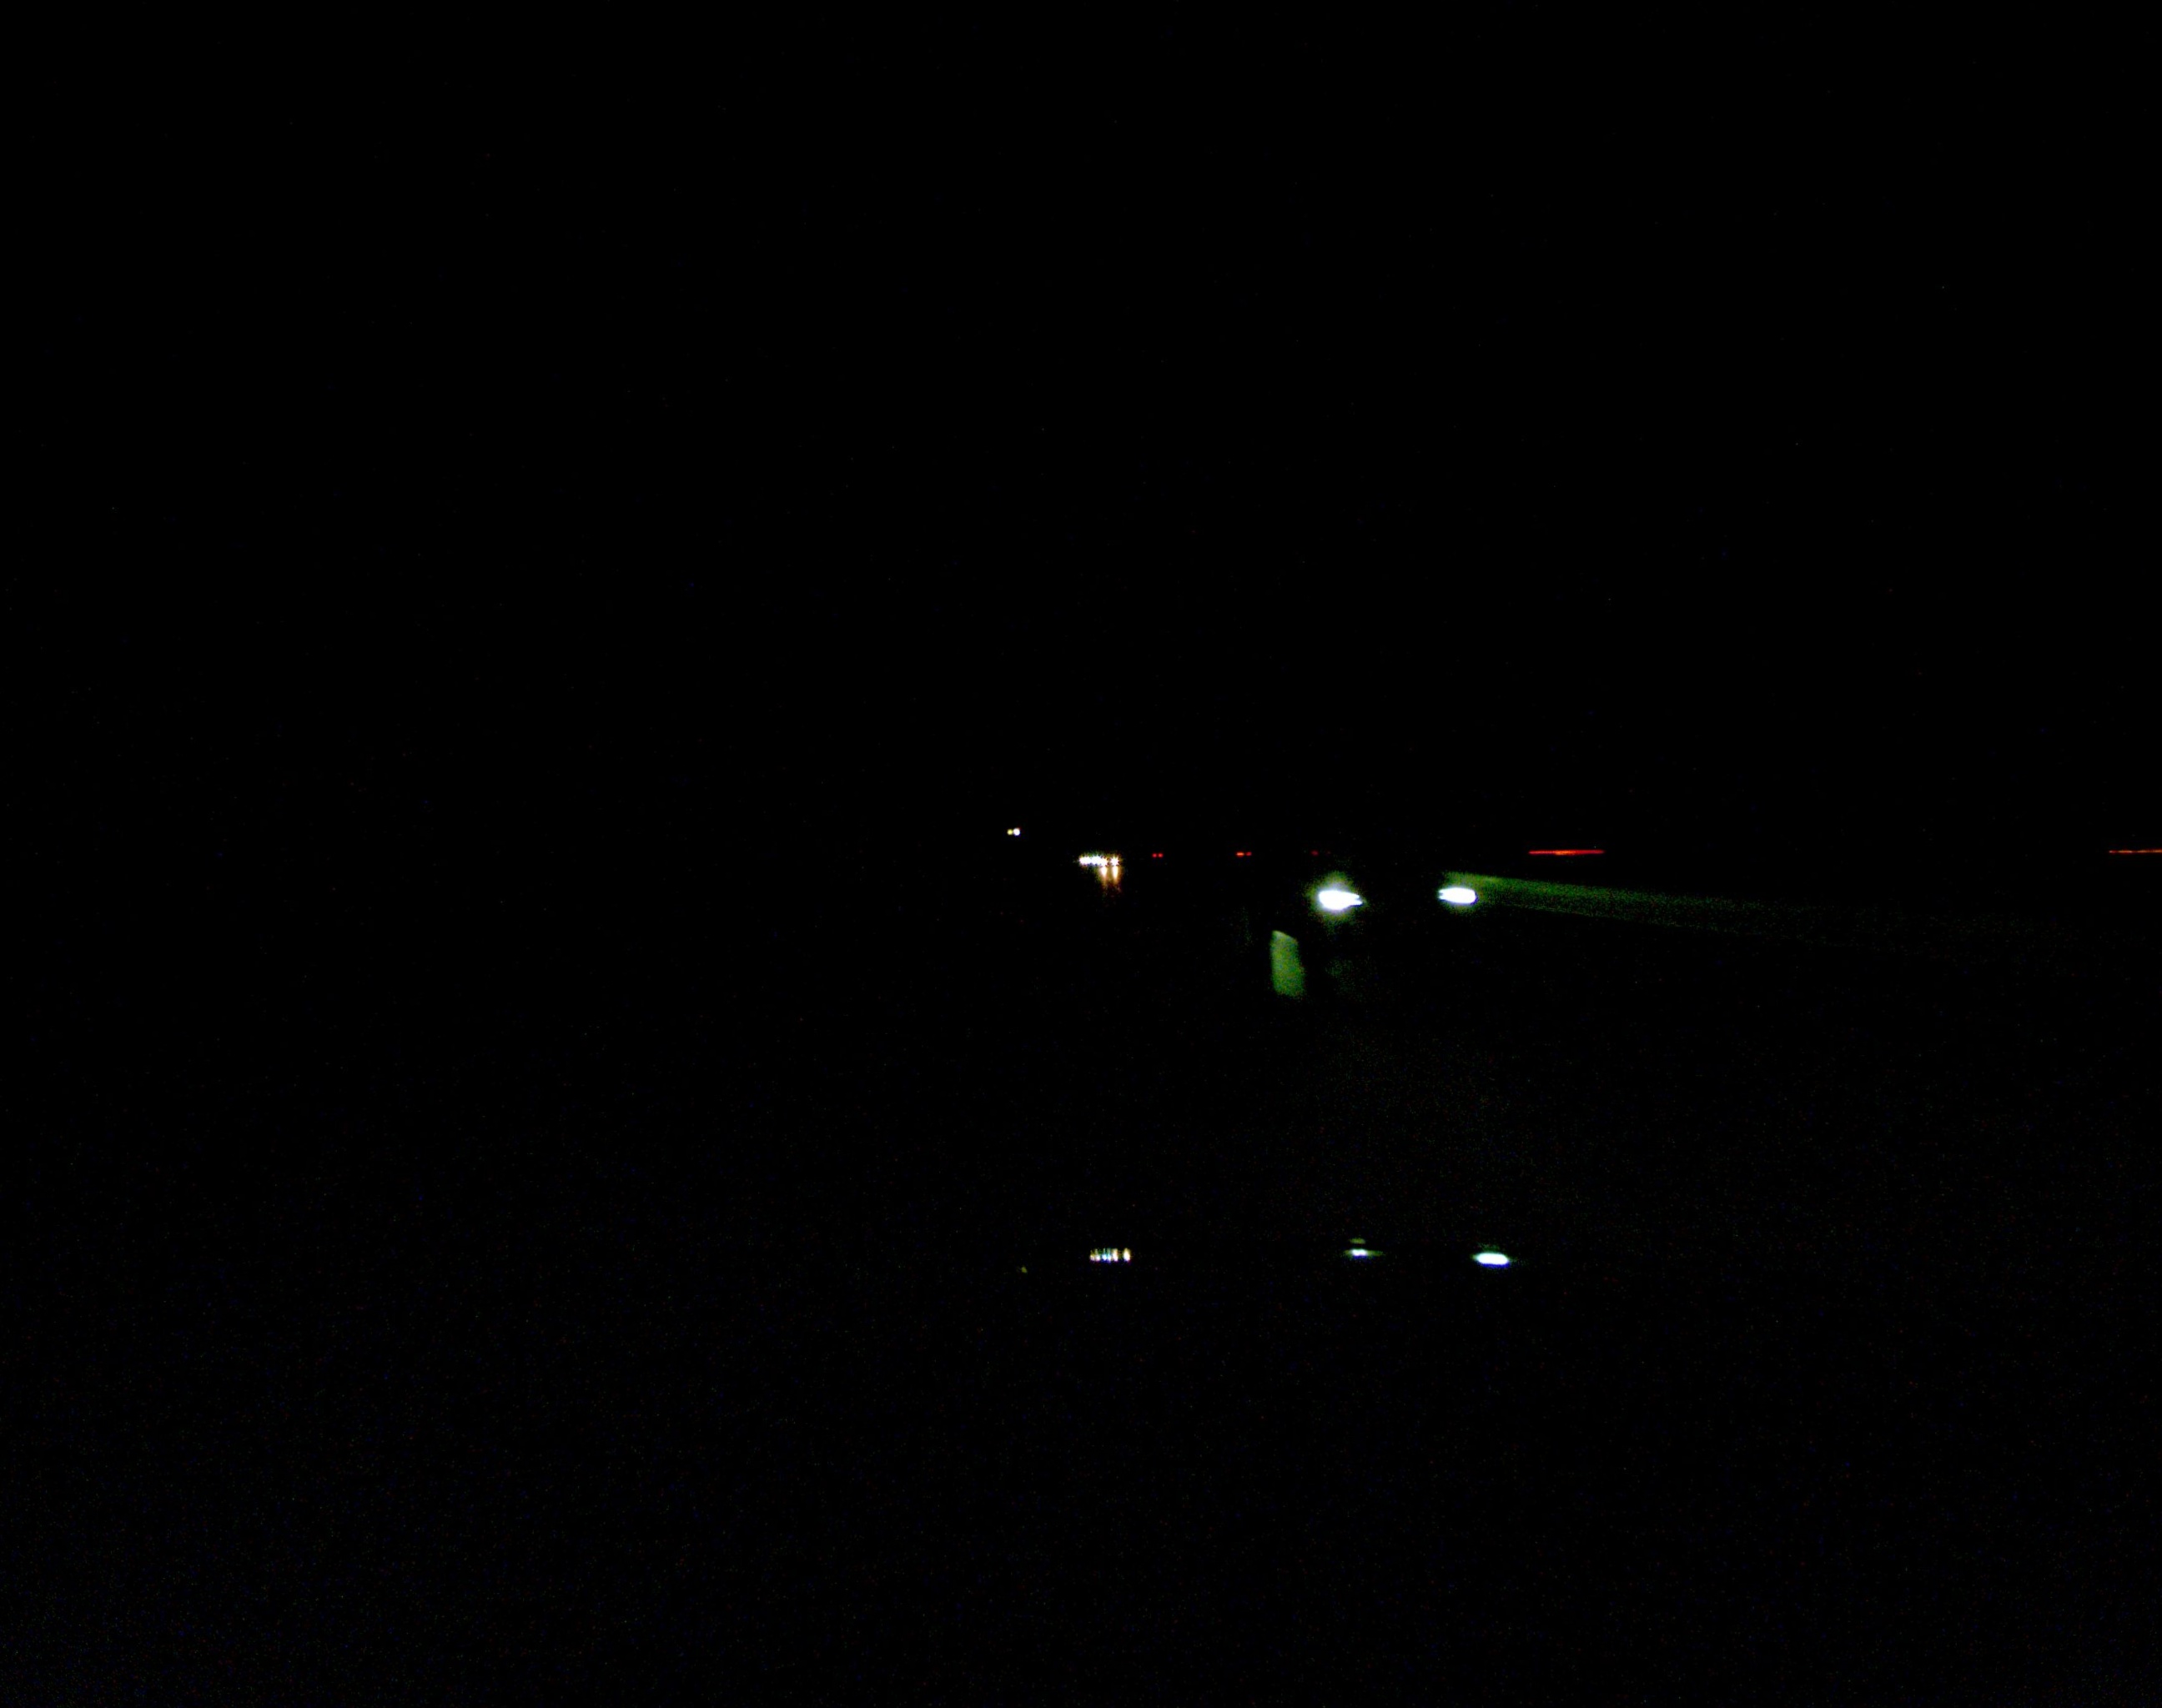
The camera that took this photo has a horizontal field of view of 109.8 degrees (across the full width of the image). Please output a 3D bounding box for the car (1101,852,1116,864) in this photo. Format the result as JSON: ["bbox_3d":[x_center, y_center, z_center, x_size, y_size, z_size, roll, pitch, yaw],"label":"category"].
[{"bbox_3d":[3.779,0.558,104.438,1.998,1.423,4.329,-4,1,2],"label":"car"}]

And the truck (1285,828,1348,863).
[{"bbox_3d":[19.913,-0.697,64.719,2.880,2.626,7.885,-3,0,0],"label":"truck"}]

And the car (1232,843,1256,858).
[{"bbox_3d":[23.088,-0.525,107.811,2.202,1.944,4.763,-4,0,1],"label":"car"}]

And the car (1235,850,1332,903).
[{"bbox_3d":[6.475,0.637,24.928,1.554,1.423,5.512,-1,1,-2],"label":"car"}]

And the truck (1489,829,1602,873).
[{"bbox_3d":[20.120,-0.134,33.186,2.039,1.746,4.763,-2,0,1],"label":"truck"}]

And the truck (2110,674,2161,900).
[{"bbox_3d":[22.728,-1.350,12.196,3.333,4.408,6.707,-2,0,1],"label":"truck"}]

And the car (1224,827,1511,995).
[{"bbox_3d":[3.706,0.616,11.303,1.998,1.711,5.942,-4,0,1],"label":"car"}]
